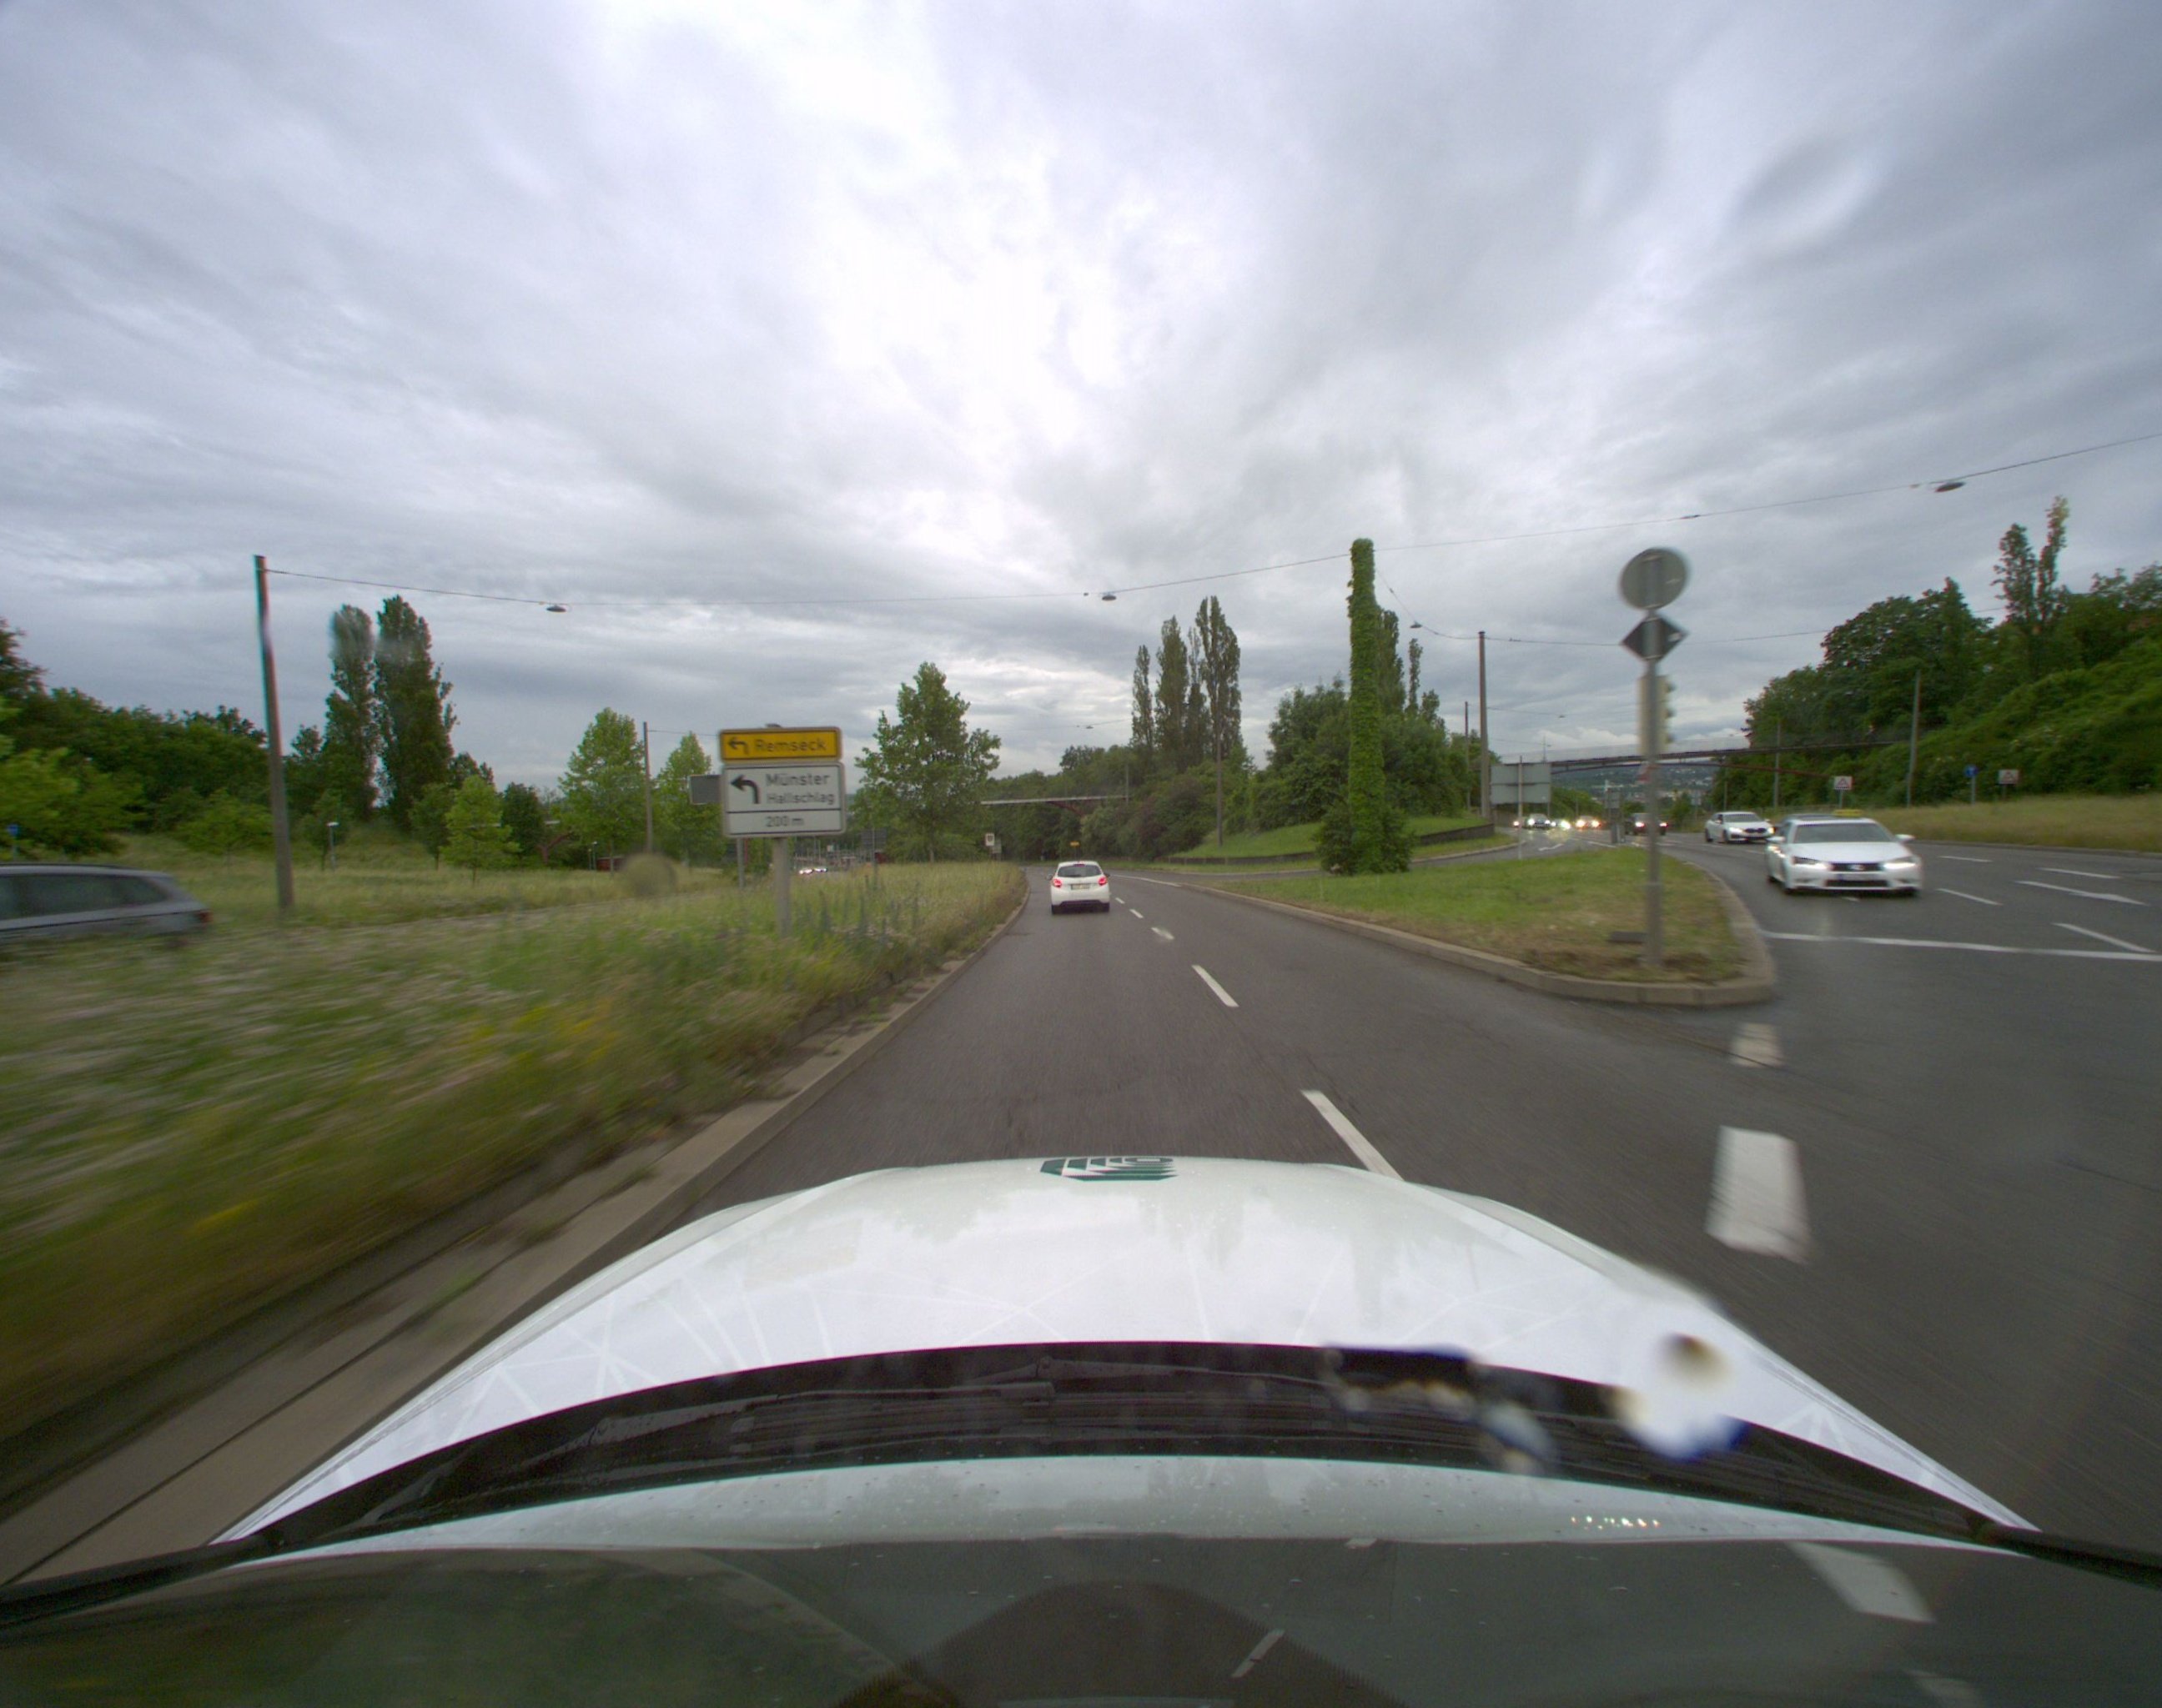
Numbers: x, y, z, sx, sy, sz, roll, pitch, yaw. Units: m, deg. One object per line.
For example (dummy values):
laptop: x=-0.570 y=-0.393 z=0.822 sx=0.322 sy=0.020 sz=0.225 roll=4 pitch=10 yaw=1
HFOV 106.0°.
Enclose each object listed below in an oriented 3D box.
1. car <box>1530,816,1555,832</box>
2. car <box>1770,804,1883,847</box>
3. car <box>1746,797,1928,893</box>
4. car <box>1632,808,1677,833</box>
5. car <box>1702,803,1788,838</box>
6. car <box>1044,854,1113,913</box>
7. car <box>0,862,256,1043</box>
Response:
car: x=42.302 y=-2.728 z=74.715 sx=1.655 sy=1.414 sz=3.940 roll=-2 pitch=0 yaw=25
car: x=26.811 y=-1.072 z=29.487 sx=1.820 sy=1.350 sz=4.582 roll=-2 pitch=3 yaw=27
car: x=15.227 y=-0.203 z=16.719 sx=2.048 sy=1.645 sz=5.022 roll=0 pitch=1 yaw=35
car: x=36.923 y=-2.130 z=52.523 sx=1.655 sy=1.414 sz=3.940 roll=-2 pitch=0 yaw=25
car: x=30.561 y=-1.552 z=37.646 sx=2.049 sy=1.428 sz=4.297 roll=-2 pitch=2 yaw=25
car: x=-0.052 y=0.816 z=24.530 sx=1.862 sy=1.510 sz=3.900 roll=-2 pitch=1 yaw=0
car: x=-10.274 y=0.887 z=6.982 sx=1.989 sy=1.512 sz=4.432 roll=-1 pitch=0 yaw=-3
